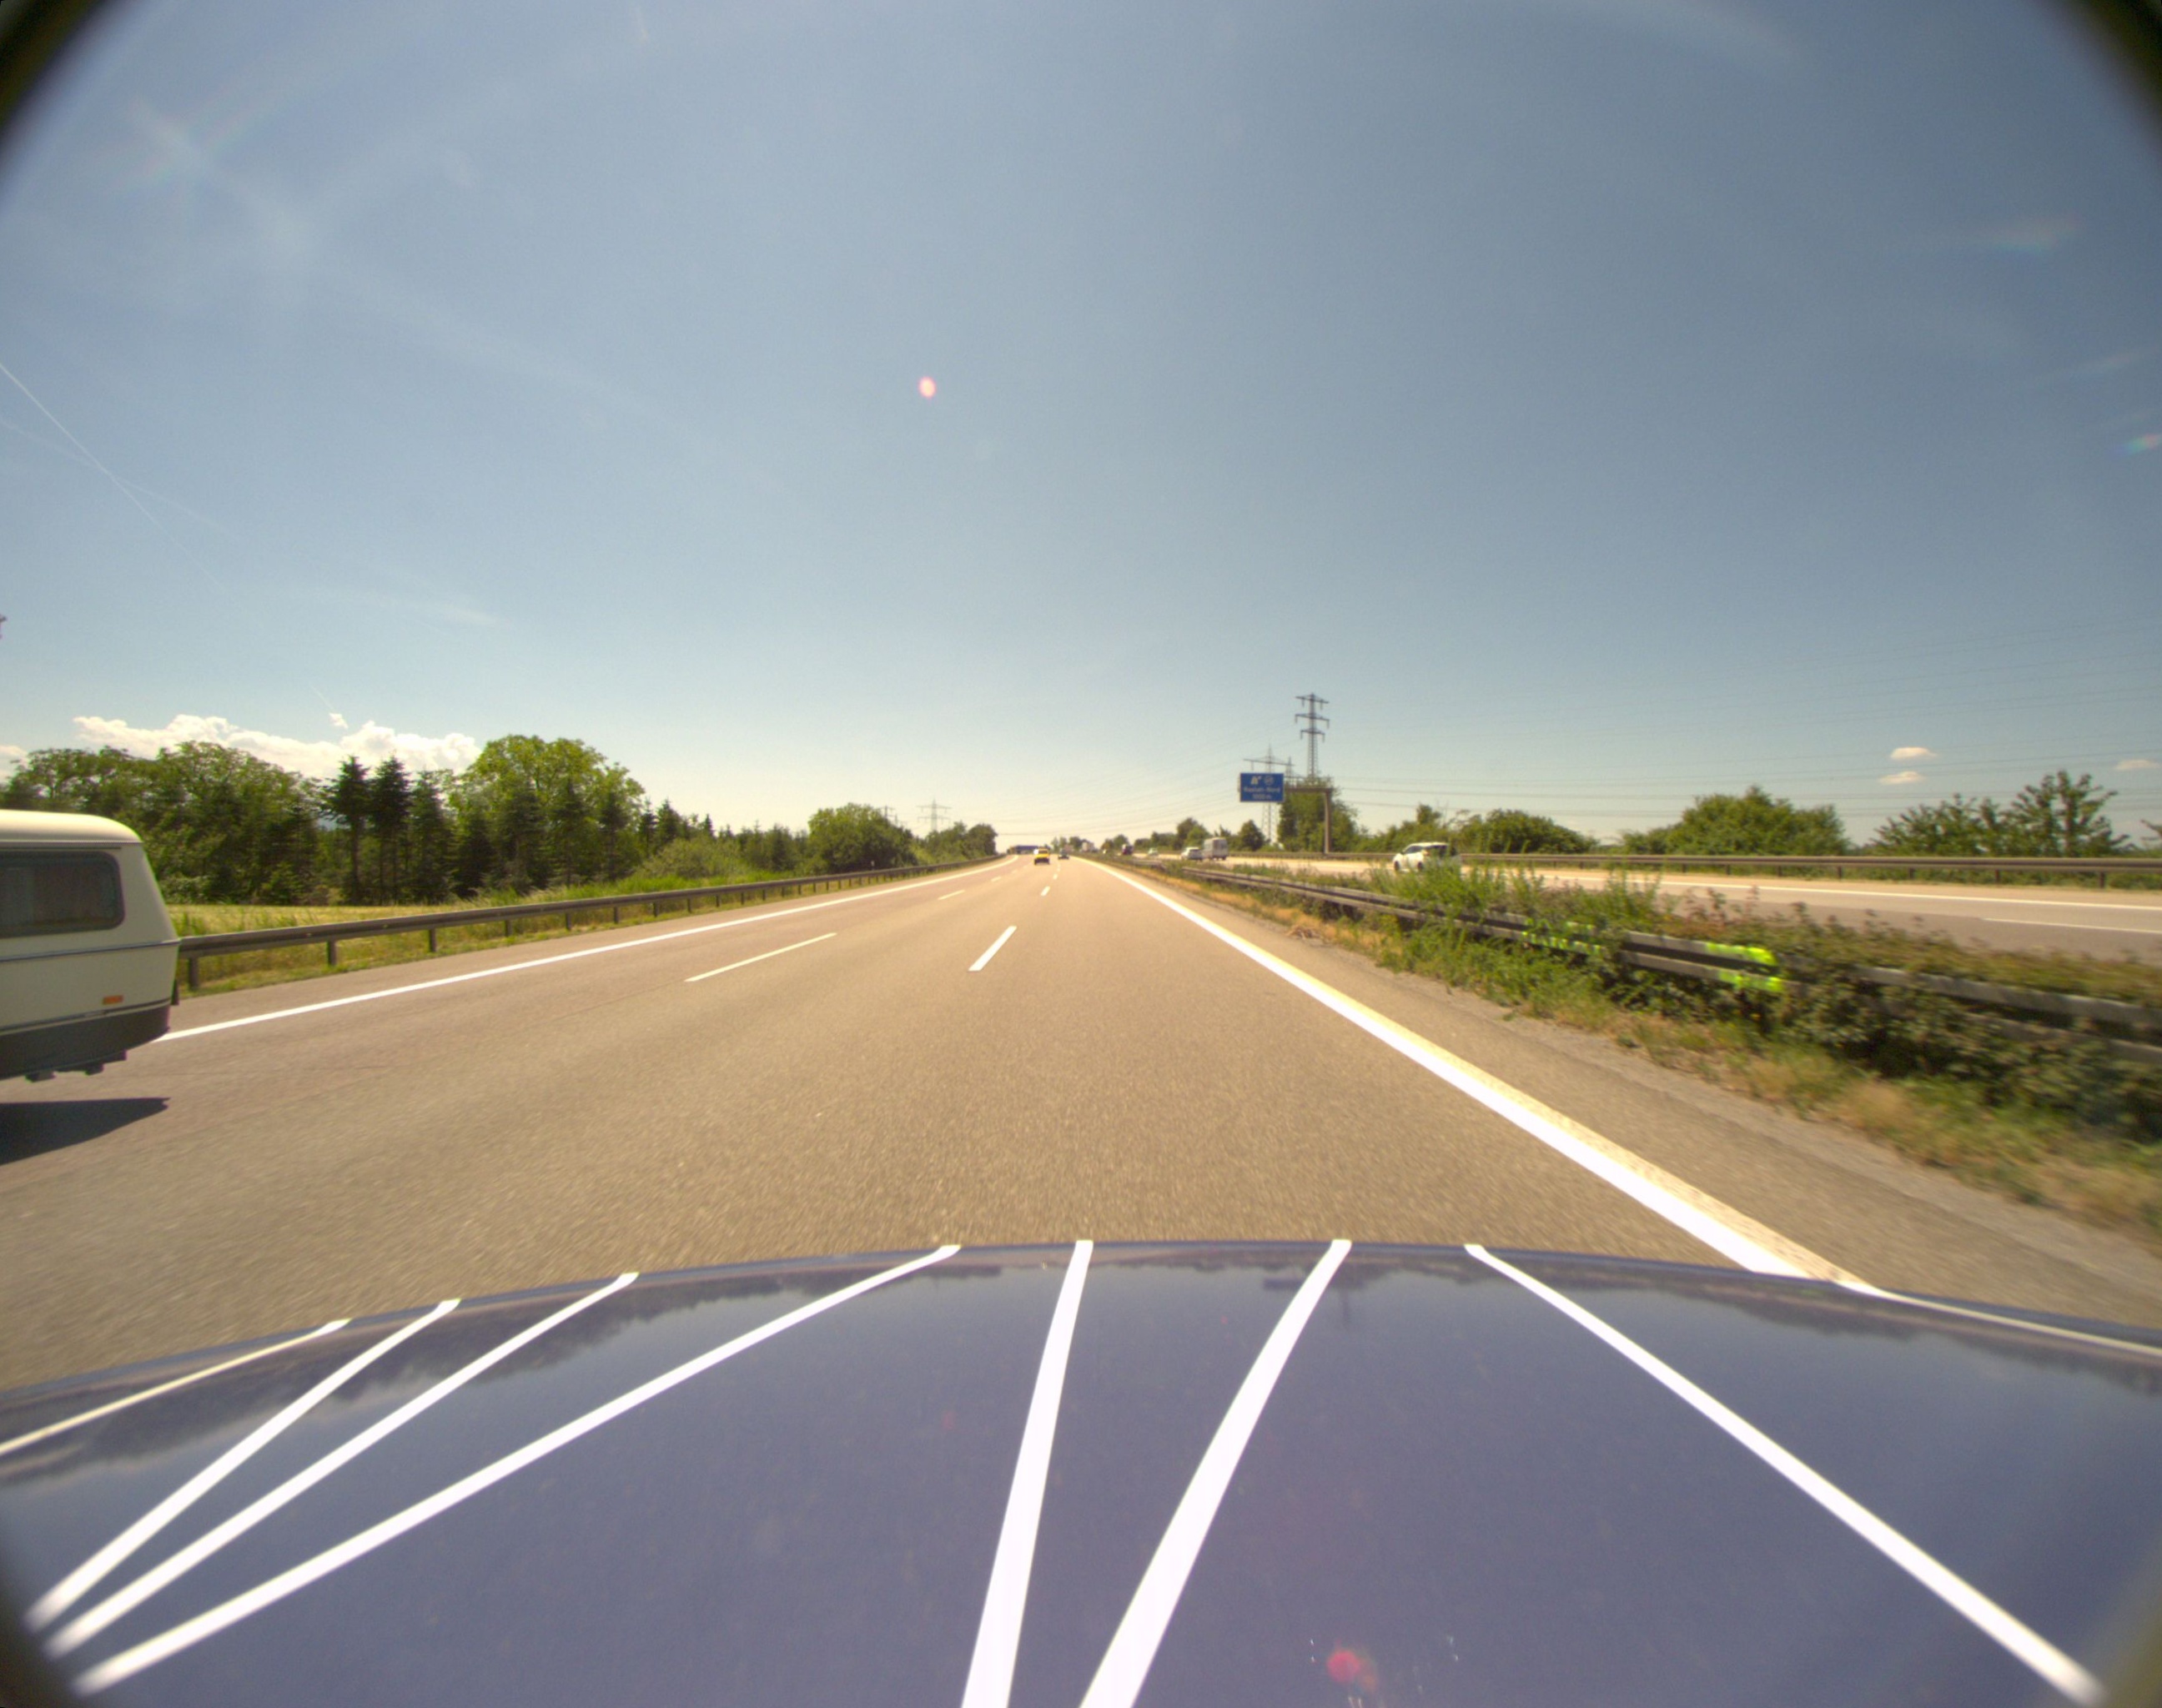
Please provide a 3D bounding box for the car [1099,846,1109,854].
[{"bbox_3d":[4.862,-0.883,160.939,1.751,1.458,4.248,-2,1,-2],"label":"car"}]

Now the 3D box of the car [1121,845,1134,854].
[{"bbox_3d":[9.191,-0.807,149.580,1.999,1.688,4.605,-2,1,-3],"label":"car"}]

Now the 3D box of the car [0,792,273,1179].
[{"bbox_3d":[-7.659,0.775,3.402,2.449,2.308,5.321,0,-1,-1],"label":"car"}]

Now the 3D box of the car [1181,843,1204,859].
[{"bbox_3d":[12.620,-0.312,86.311,1.792,1.671,4.900,-2,0,-1],"label":"car"}]

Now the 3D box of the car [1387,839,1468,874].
[{"bbox_3d":[16.985,0.140,37.535,1.752,1.531,4.827,-3,0,0],"label":"car"}]

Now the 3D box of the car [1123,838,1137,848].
[{"bbox_3d":[11.898,-2.690,185.111,2.137,2.463,6.329,-2,1,-6],"label":"car"}]

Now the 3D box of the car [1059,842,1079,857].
[{"bbox_3d":[-2.137,-0.793,131.531,2.688,2.509,5.964,0,-1,-7],"label":"car"}]

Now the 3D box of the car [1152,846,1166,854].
[{"bbox_3d":[14.863,-0.837,144.798,1.999,1.449,4.087,-2,1,-1],"label":"car"}]

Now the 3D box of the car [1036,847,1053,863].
[{"bbox_3d":[-4.534,0.128,95.464,1.956,2.001,5.432,0,-1,-2],"label":"car"}]

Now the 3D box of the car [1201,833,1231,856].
[{"bbox_3d":[16.350,-1.133,92.328,1.999,2.670,7.180,-2,1,-2],"label":"car"}]

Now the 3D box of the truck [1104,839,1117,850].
[{"bbox_3d":[8.735,-2.774,225.597,2.529,3.134,9.662,-1,1,-4],"label":"truck"}]
